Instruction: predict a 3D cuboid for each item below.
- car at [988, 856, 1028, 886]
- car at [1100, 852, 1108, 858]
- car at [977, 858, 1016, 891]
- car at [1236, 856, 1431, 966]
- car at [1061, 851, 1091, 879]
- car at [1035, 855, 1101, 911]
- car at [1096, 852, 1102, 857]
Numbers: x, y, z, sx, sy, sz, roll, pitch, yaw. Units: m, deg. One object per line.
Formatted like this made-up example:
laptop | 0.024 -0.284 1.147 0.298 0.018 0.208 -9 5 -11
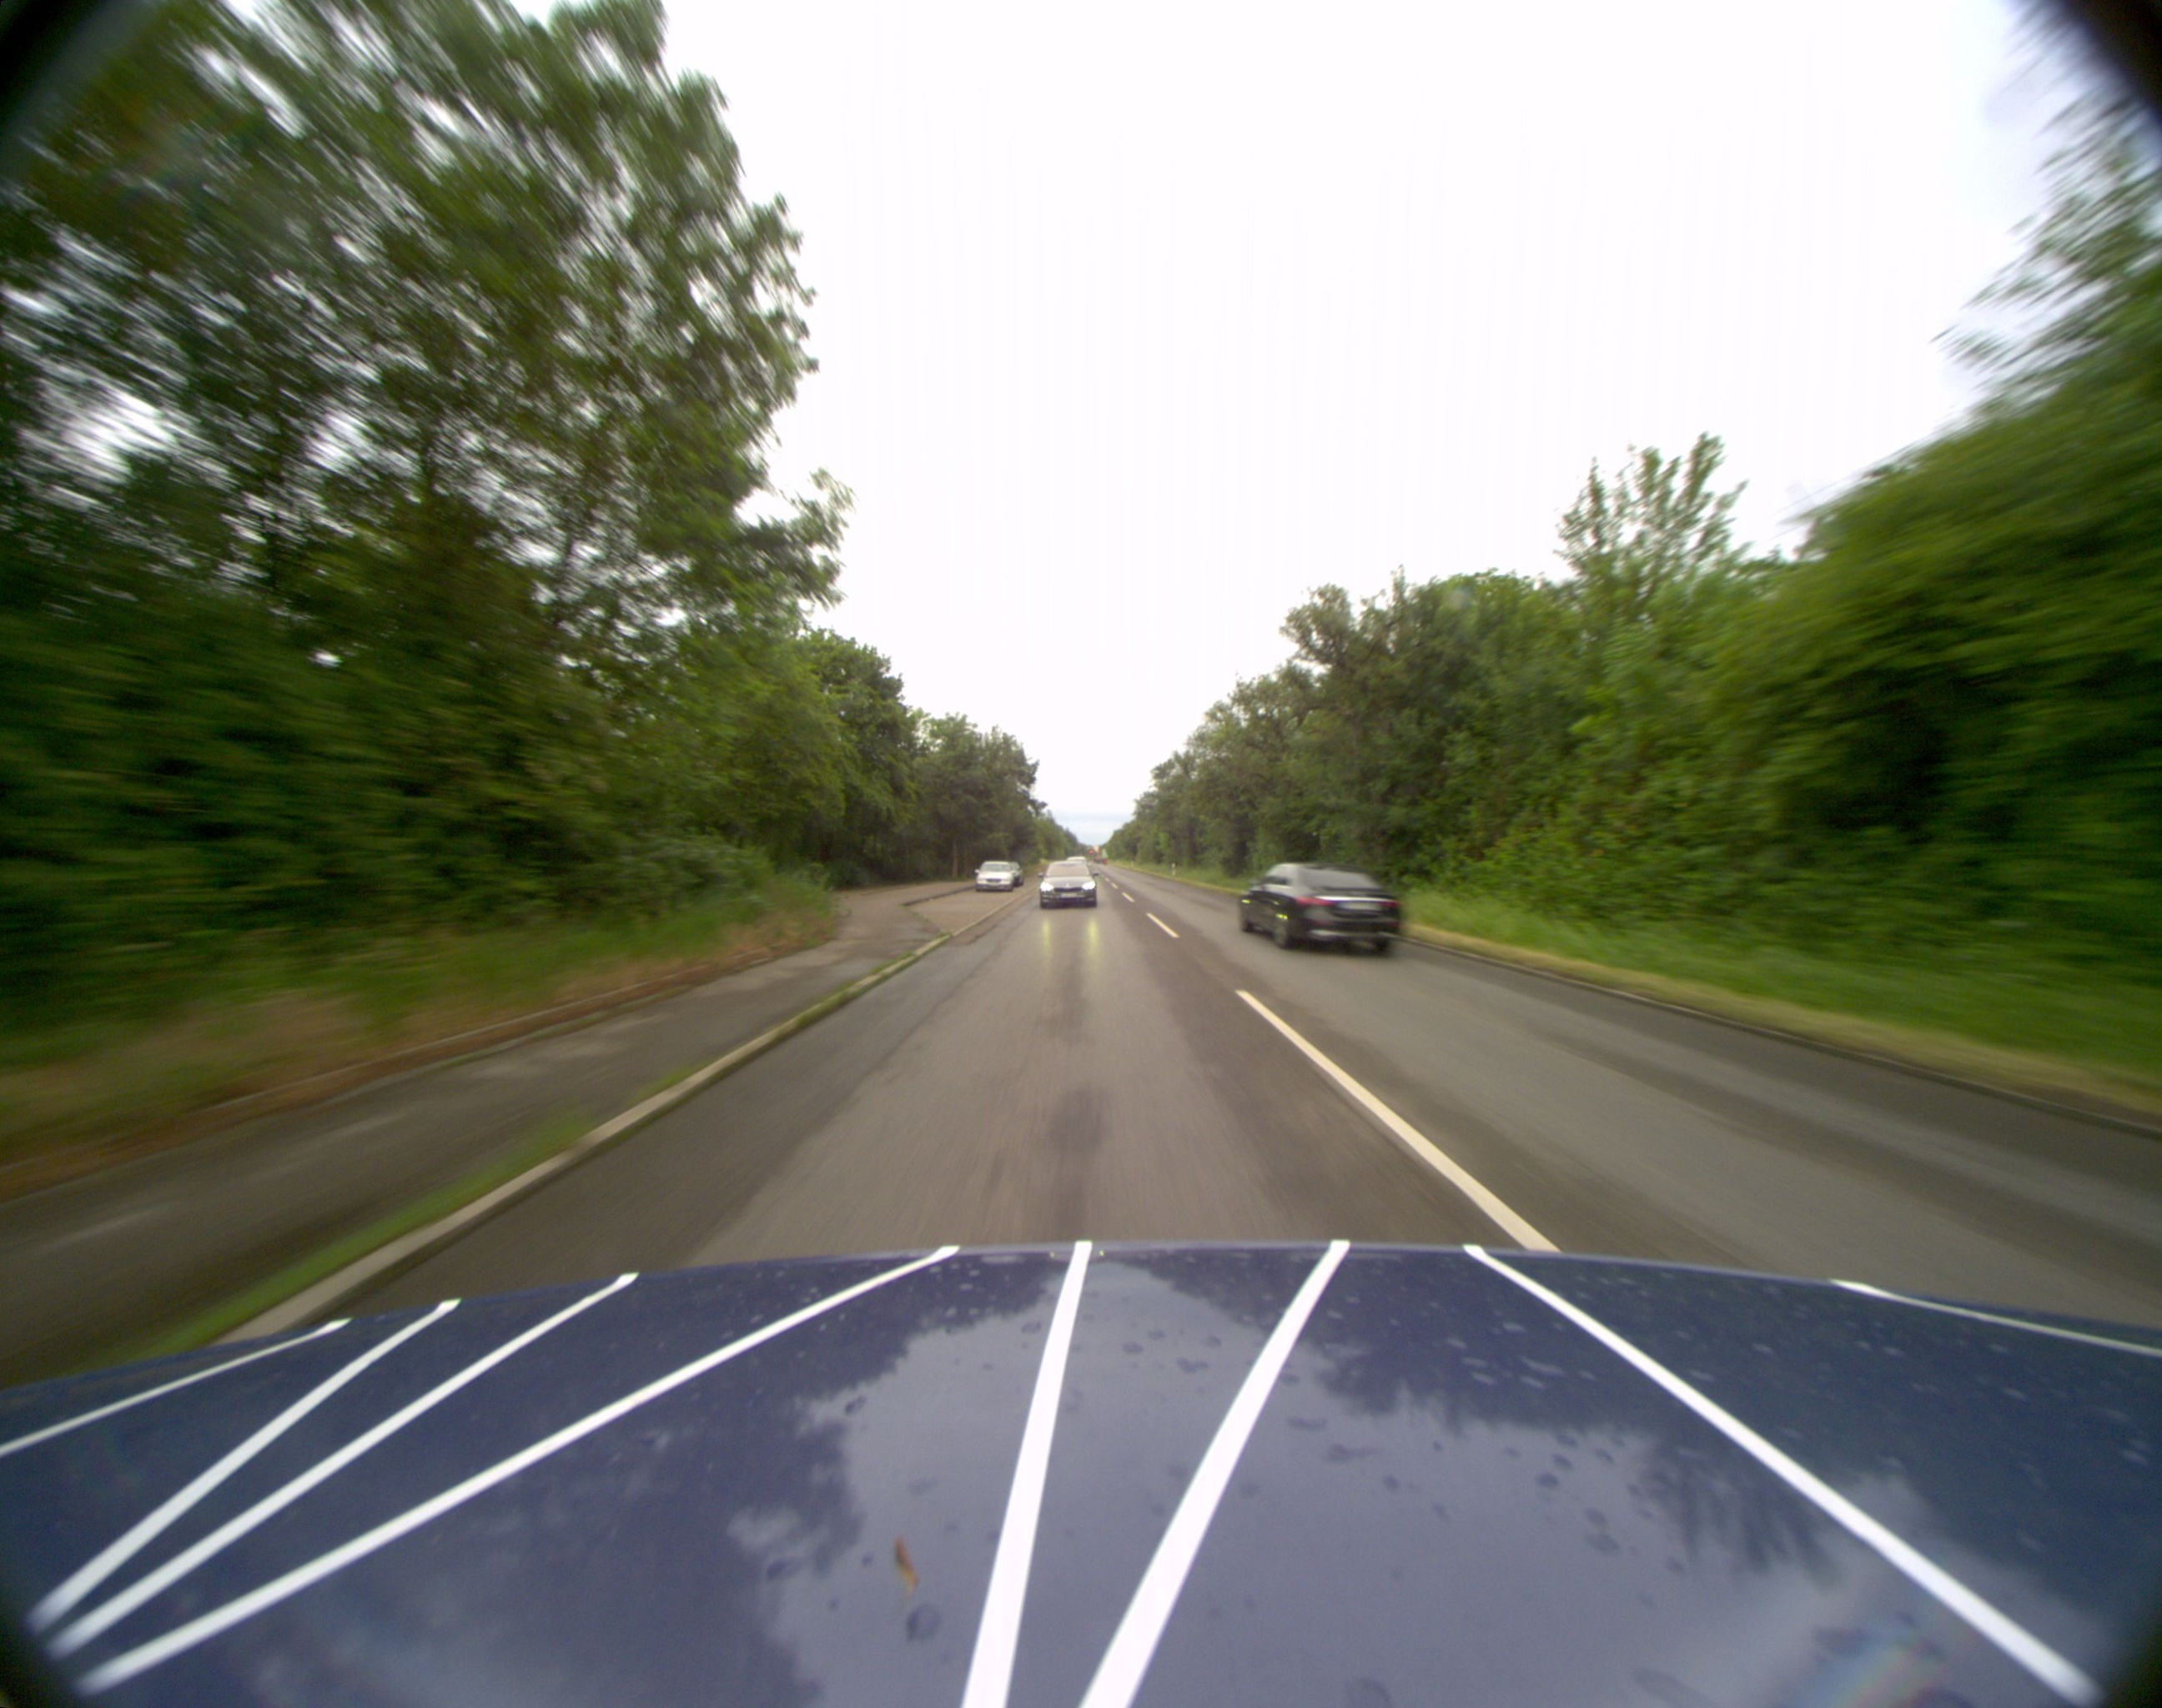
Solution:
car | -4.128 0.933 43.600 1.810 1.501 4.666 1 1 0
car | 5.327 0.248 177.566 1.793 1.465 3.623 0 1 0
car | -4.110 0.984 37.367 1.749 1.460 4.218 0 1 -4
car | 4.173 0.846 13.444 1.876 1.480 4.573 2 1 0
car | -0.321 0.727 51.203 1.915 1.691 3.913 -3 1 0
car | -0.375 0.862 24.985 1.915 1.543 4.354 -3 1 0
car | 5.017 0.190 212.317 1.793 1.465 3.623 0 1 0
